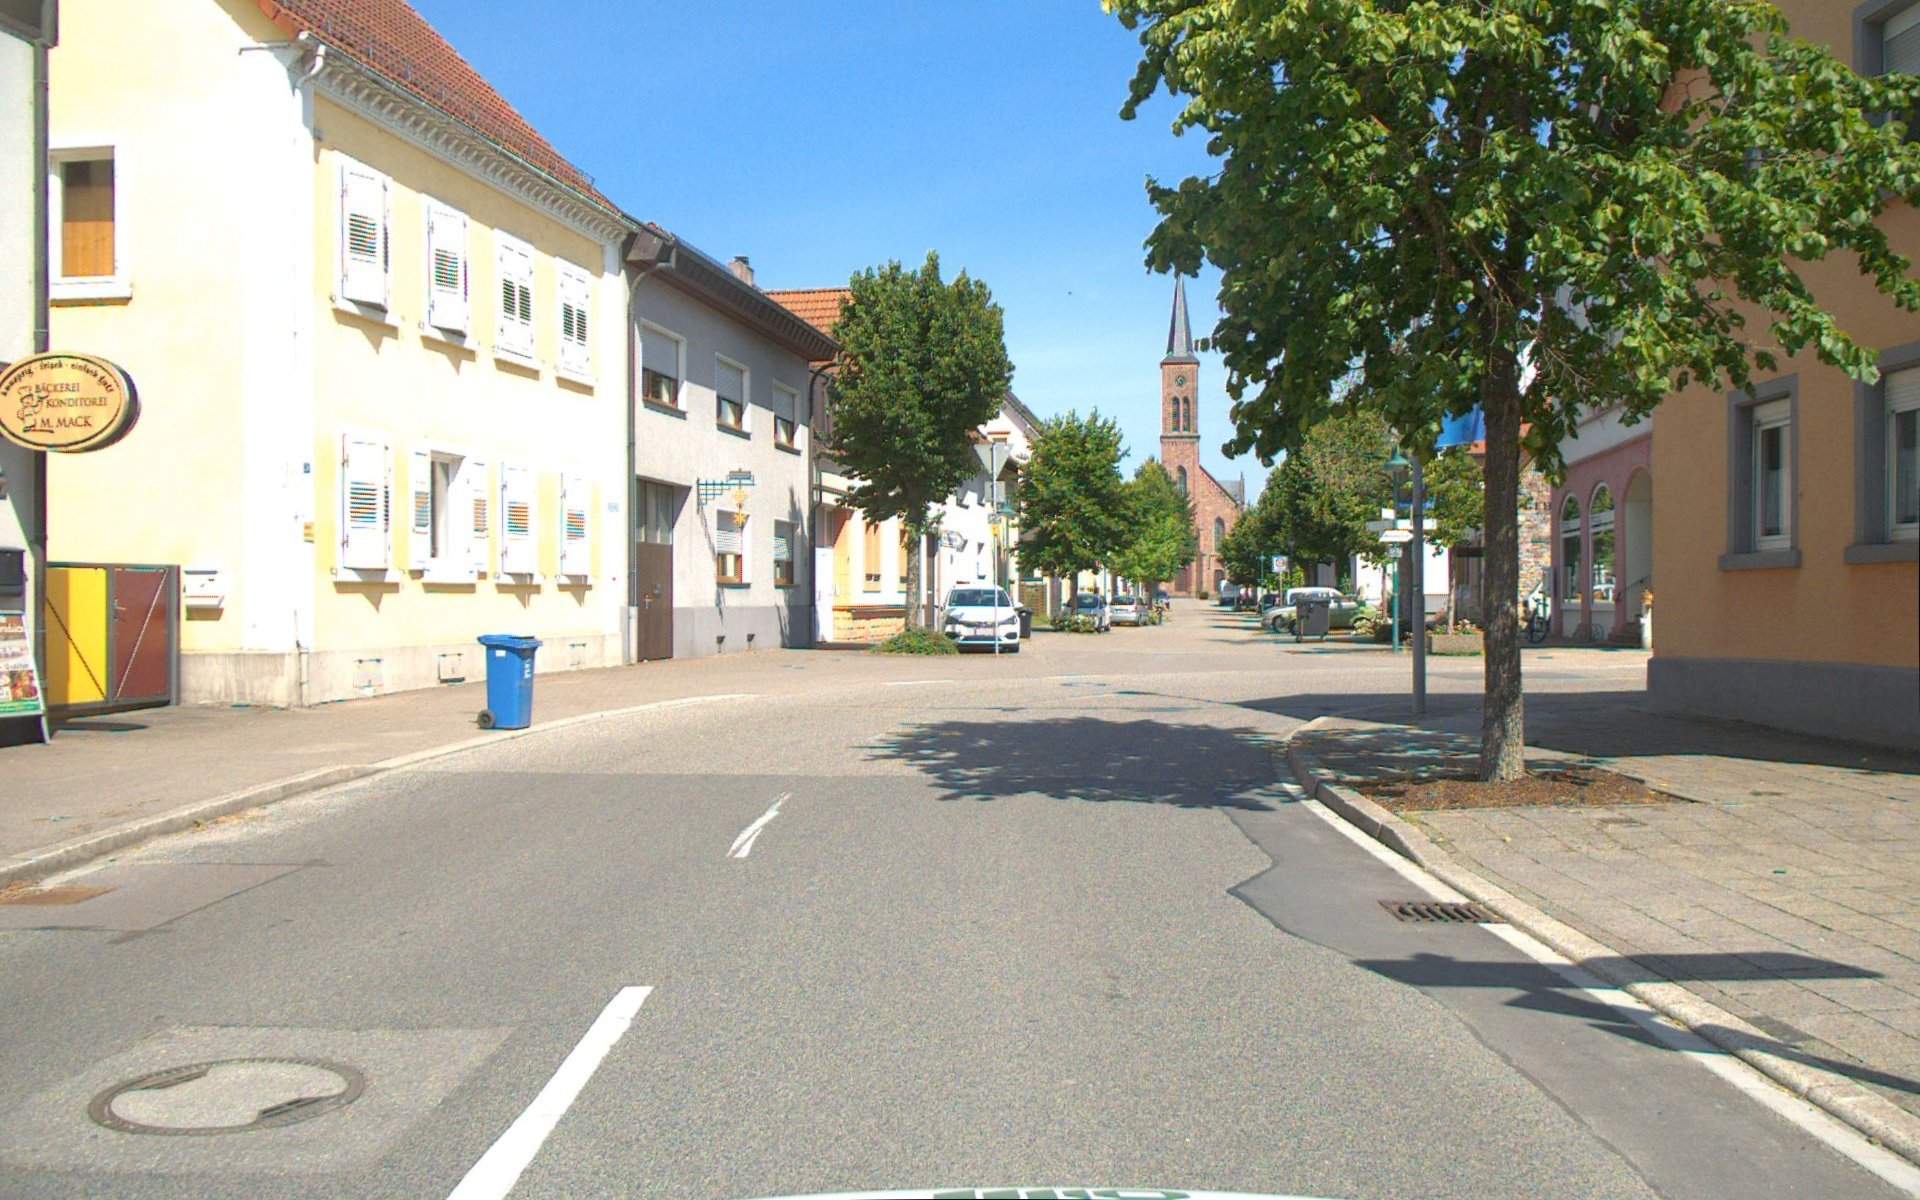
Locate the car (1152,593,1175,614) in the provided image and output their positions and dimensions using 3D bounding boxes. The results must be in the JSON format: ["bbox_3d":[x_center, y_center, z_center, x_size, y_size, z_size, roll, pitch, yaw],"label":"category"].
[{"bbox_3d":[18.497,0.336,150.668,1.951,1.847,4.003,-1,0,5],"label":"car"}]

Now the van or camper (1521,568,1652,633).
[{"bbox_3d":[20.483,0.009,54.249,3.903,2.049,2.001,-1,0,18],"label":"van or camper"}]

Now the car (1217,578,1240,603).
[{"bbox_3d":[26.887,-0.949,165.486,2.197,2.318,4.506,1,0,9],"label":"car"}]

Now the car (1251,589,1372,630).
[{"bbox_3d":[14.188,0.370,67.025,4.701,1.652,2.002,0,0,9],"label":"car"}]

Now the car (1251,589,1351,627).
[{"bbox_3d":[14.339,0.324,69.749,4.061,1.595,2.002,0,0,9],"label":"car"}]

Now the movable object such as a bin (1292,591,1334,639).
[{"bbox_3d":[10.257,0.435,48.015,1.162,1.361,0.790,-1,0,13],"label":"movable object such as a bin"}]

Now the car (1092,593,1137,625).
[{"bbox_3d":[7.510,0.409,80.742,1.952,1.489,4.001,0,0,2],"label":"car"}]

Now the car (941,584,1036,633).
[{"bbox_3d":[0.966,0.226,51.553,1.942,1.465,5.215,0,0,13],"label":"car"}]

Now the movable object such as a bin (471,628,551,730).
[{"bbox_3d":[-4.543,0.786,16.749,0.629,0.998,0.614,0,0,2],"label":"movable object such as a bin"}]

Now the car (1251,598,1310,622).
[{"bbox_3d":[22.487,0.706,116.181,3.902,1.646,2.002,-1,0,7],"label":"car"}]

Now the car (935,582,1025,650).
[{"bbox_3d":[0.396,0.320,37.543,1.812,1.465,4.511,0,0,-2],"label":"car"}]

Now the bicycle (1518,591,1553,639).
[{"bbox_3d":[14.441,0.364,41.536,0.580,1.155,1.750,-1,0,12],"label":"bicycle"}]

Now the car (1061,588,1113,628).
[{"bbox_3d":[5.379,0.322,69.847,1.951,1.601,4.003,-1,0,8],"label":"car"}]

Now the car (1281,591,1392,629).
[{"bbox_3d":[13.726,0.348,60.526,3.840,1.368,2.002,0,0,9],"label":"car"}]
